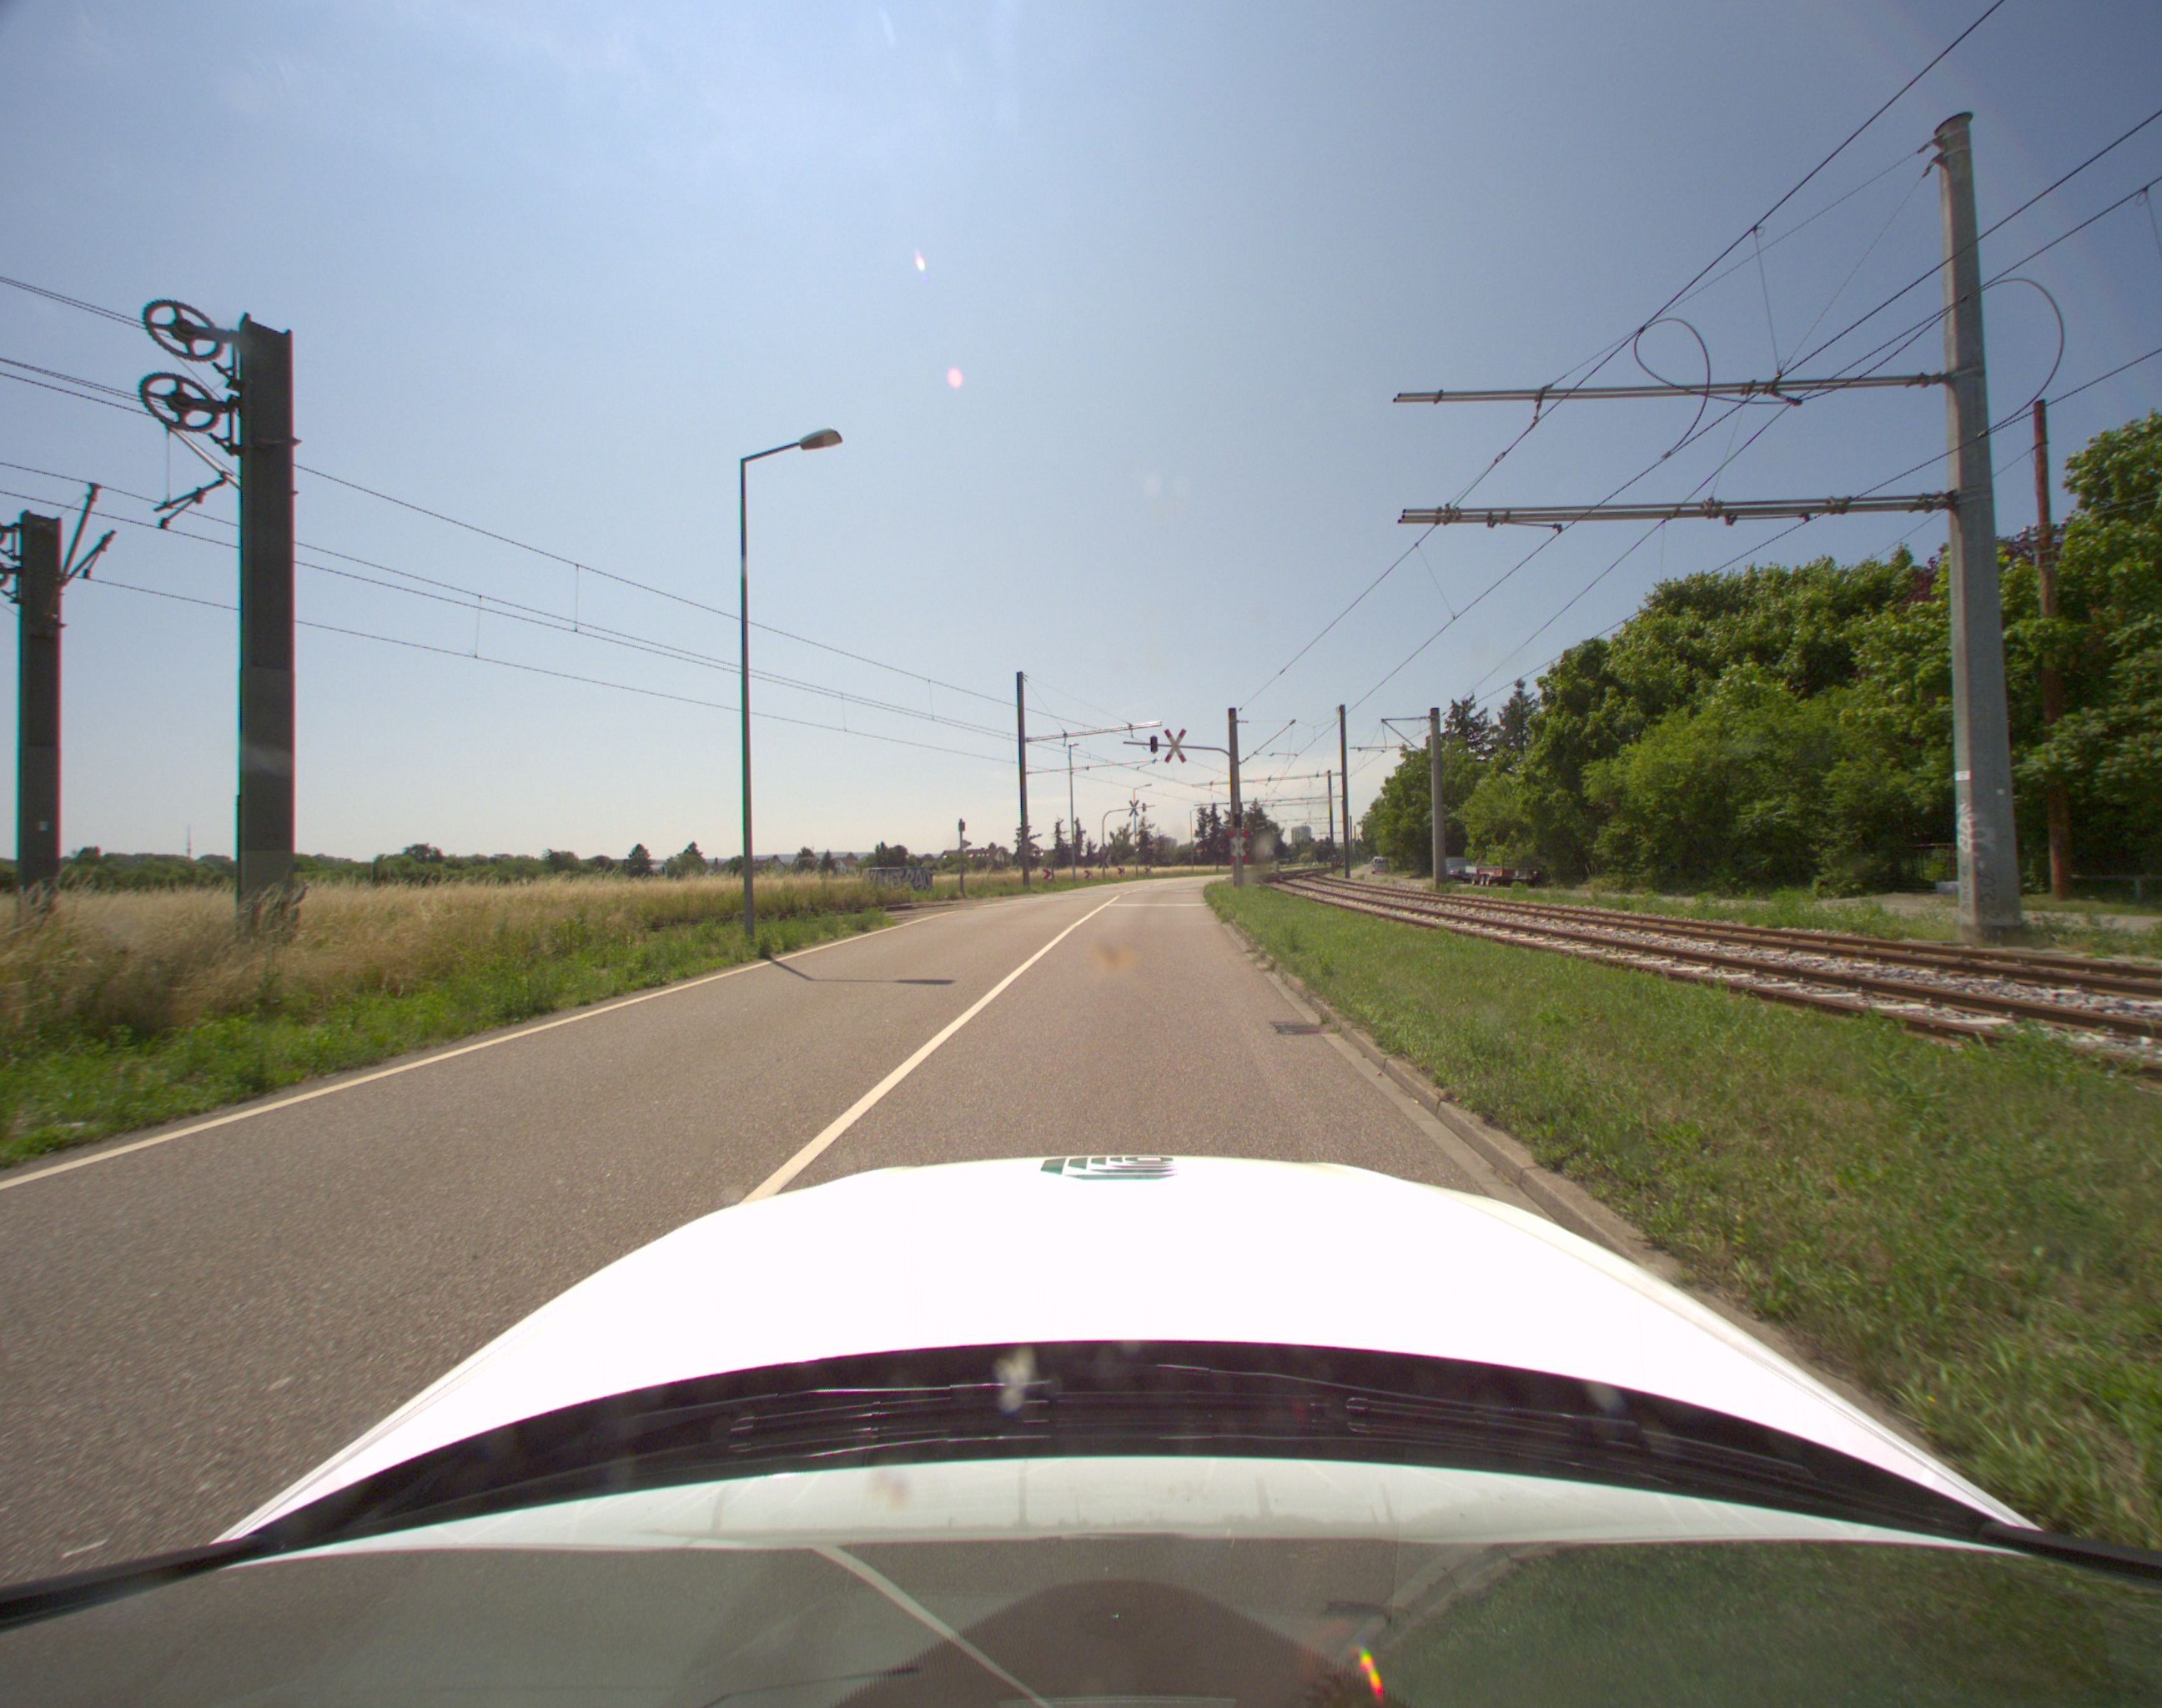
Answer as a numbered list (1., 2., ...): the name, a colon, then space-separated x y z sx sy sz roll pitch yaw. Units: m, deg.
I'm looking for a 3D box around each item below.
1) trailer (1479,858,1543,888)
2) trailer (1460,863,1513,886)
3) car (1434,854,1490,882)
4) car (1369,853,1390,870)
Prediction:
1. trailer: 19.122 0.870 36.391 1.452 1.222 4.013 -2 -2 12
2. trailer: 20.013 0.976 40.325 1.410 0.994 4.013 0 0 12
3. car: 21.399 0.823 45.893 1.784 1.426 4.755 -2 -2 12
4. car: 34.275 0.887 93.454 2.018 1.882 5.095 -3 -2 22
